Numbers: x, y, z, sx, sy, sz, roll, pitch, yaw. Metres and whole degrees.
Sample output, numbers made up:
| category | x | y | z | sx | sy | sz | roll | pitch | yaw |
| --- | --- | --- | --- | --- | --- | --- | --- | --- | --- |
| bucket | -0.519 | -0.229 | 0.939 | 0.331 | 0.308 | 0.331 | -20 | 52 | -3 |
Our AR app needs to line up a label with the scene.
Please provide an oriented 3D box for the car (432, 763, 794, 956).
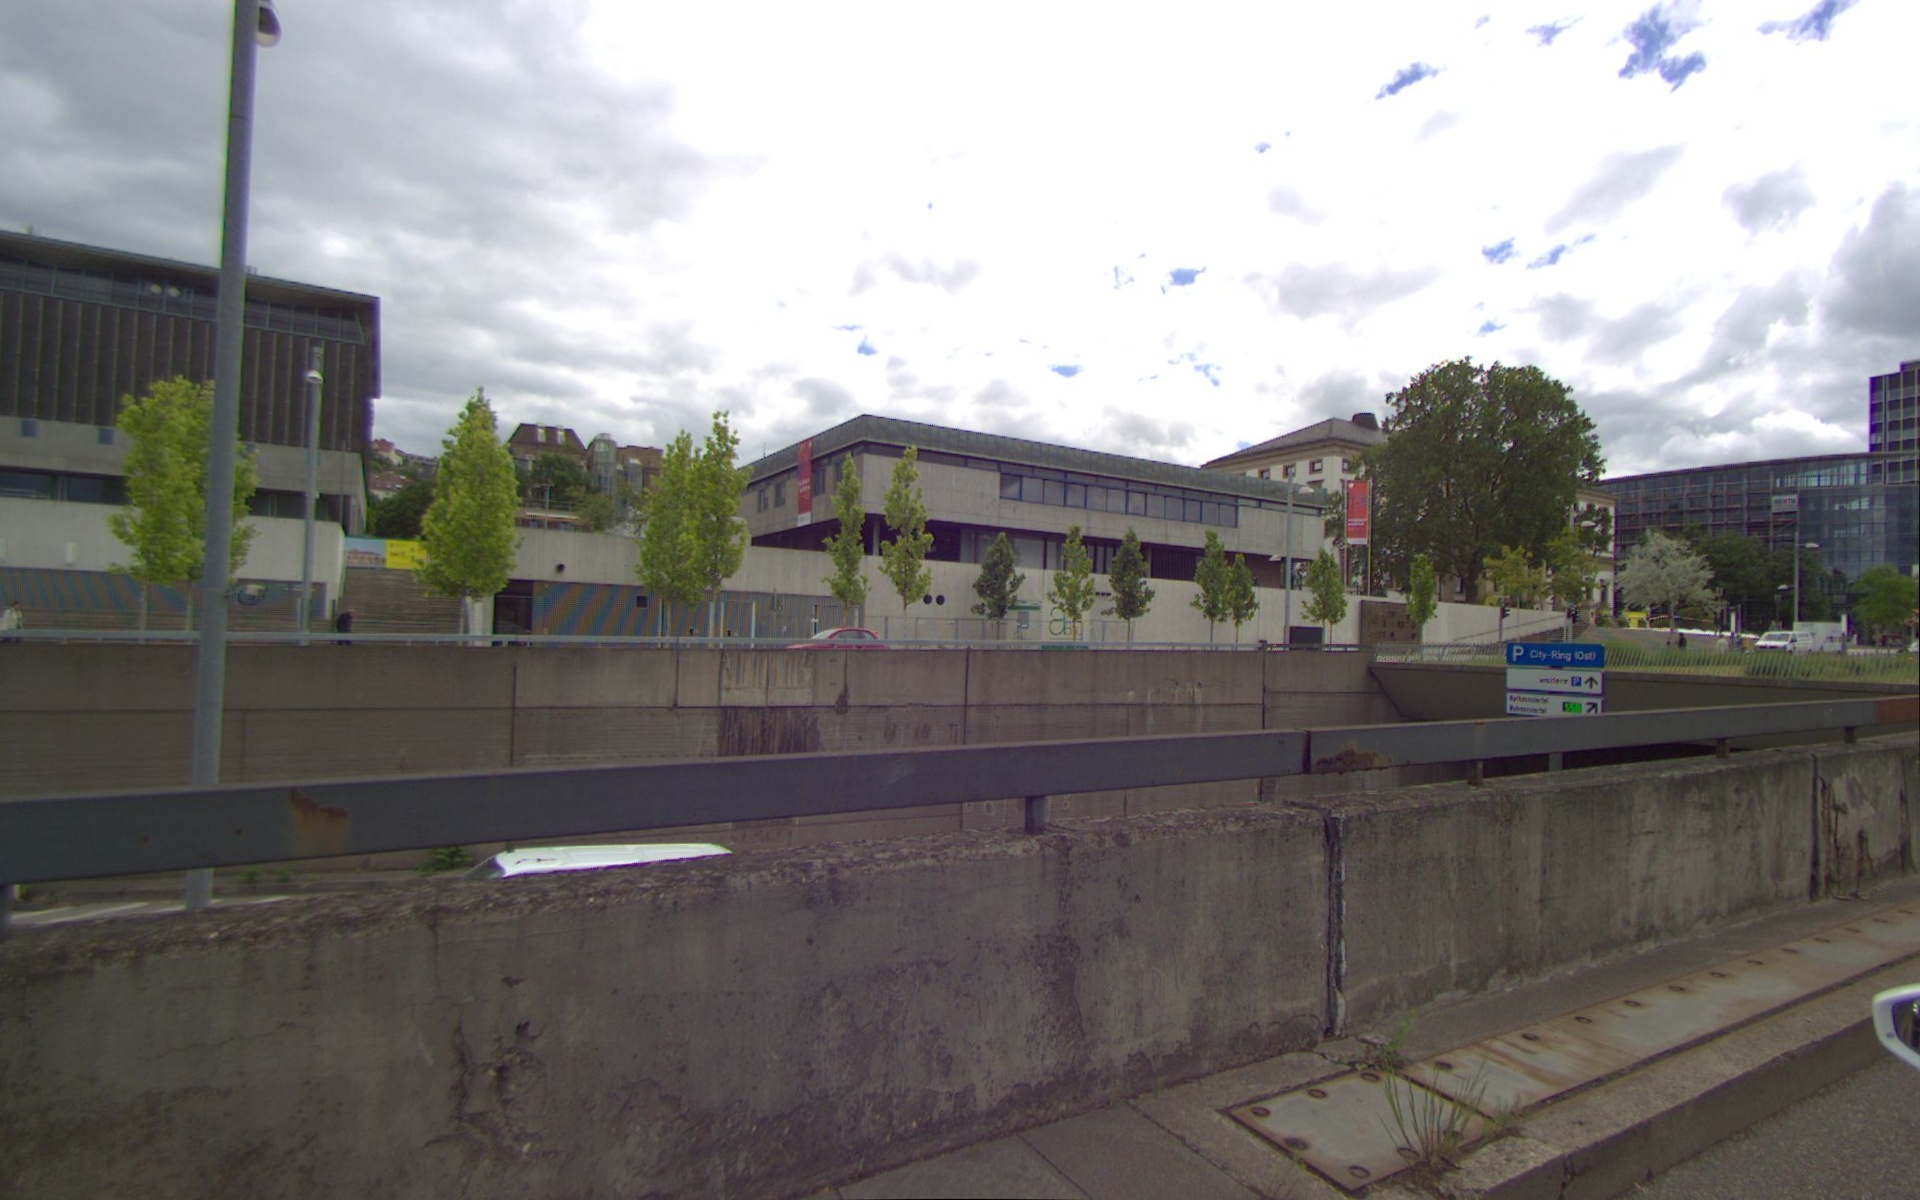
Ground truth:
| category | x | y | z | sx | sy | sz | roll | pitch | yaw |
| --- | --- | --- | --- | --- | --- | --- | --- | --- | --- |
| car | -5.396 | 3.863 | 15.778 | 5.054 | 2.040 | 2.208 | 2 | -1 | -29 |

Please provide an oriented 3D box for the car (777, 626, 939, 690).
| category | x | y | z | sx | sy | sz | roll | pitch | yaw |
| --- | --- | --- | --- | --- | --- | --- | --- | --- | --- |
| car | -3.233 | 1.817 | 32.161 | 4.687 | 1.879 | 2.161 | 2 | -1 | -34 |

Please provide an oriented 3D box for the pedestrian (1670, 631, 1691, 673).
| category | x | y | z | sx | sy | sz | roll | pitch | yaw |
| --- | --- | --- | --- | --- | --- | --- | --- | --- | --- |
| pedestrian | 35.582 | 2.541 | 49.620 | 0.779 | 2.040 | 0.834 | -1 | -1 | 33 |

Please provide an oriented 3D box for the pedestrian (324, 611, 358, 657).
| category | x | y | z | sx | sy | sz | roll | pitch | yaw |
| --- | --- | --- | --- | --- | --- | --- | --- | --- | --- |
| pedestrian | -22.539 | 1.221 | 36.601 | 0.777 | 1.664 | 0.740 | 0 | -1 | -2 |

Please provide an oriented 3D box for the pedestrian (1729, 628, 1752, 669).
| category | x | y | z | sx | sy | sz | roll | pitch | yaw |
| --- | --- | --- | --- | --- | --- | --- | --- | --- | --- |
| pedestrian | 40.002 | 2.470 | 51.488 | 0.623 | 2.041 | 0.724 | -4 | 2 | -37 |

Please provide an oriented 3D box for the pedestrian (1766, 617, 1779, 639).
| category | x | y | z | sx | sy | sz | roll | pitch | yaw |
| --- | --- | --- | --- | --- | --- | --- | --- | --- | --- |
| pedestrian | 77.104 | 2.679 | 95.311 | 1.103 | 2.040 | 0.734 | 0 | -1 | -35 |

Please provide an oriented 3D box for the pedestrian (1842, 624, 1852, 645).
| category | x | y | z | sx | sy | sz | roll | pitch | yaw |
| --- | --- | --- | --- | --- | --- | --- | --- | --- | --- |
| pedestrian | 89.210 | 3.479 | 101.038 | 0.730 | 2.040 | 0.916 | -1 | -1 | 41 |

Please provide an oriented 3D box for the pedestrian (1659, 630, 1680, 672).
| category | x | y | z | sx | sy | sz | roll | pitch | yaw |
| --- | --- | --- | --- | --- | --- | --- | --- | --- | --- |
| pedestrian | 35.037 | 2.511 | 49.598 | 0.779 | 2.040 | 0.835 | -1 | -1 | 32 |

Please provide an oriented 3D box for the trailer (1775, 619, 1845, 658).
| category | x | y | z | sx | sy | sz | roll | pitch | yaw |
| --- | --- | --- | --- | --- | --- | --- | --- | --- | --- |
| trailer | 60.250 | 2.705 | 71.144 | 5.443 | 2.640 | 2.028 | 1 | 1 | -30 |

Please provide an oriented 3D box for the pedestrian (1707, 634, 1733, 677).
| category | x | y | z | sx | sy | sz | roll | pitch | yaw |
| --- | --- | --- | --- | --- | --- | --- | --- | --- | --- |
| pedestrian | 36.986 | 2.696 | 48.892 | 0.617 | 2.040 | 0.862 | 0 | -1 | -4 |

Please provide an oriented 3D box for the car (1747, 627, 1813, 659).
| category | x | y | z | sx | sy | sz | roll | pitch | yaw |
| --- | --- | --- | --- | --- | --- | --- | --- | --- | --- |
| car | 55.938 | 2.927 | 68.531 | 4.635 | 2.040 | 1.985 | 0 | 0 | -30 |

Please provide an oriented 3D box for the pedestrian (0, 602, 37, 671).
| category | x | y | z | sx | sy | sz | roll | pitch | yaw |
| --- | --- | --- | --- | --- | --- | --- | --- | --- | --- |
| pedestrian | -28.643 | 1.099 | 30.372 | 0.777 | 2.040 | 0.741 | 0 | -1 | 2 |
